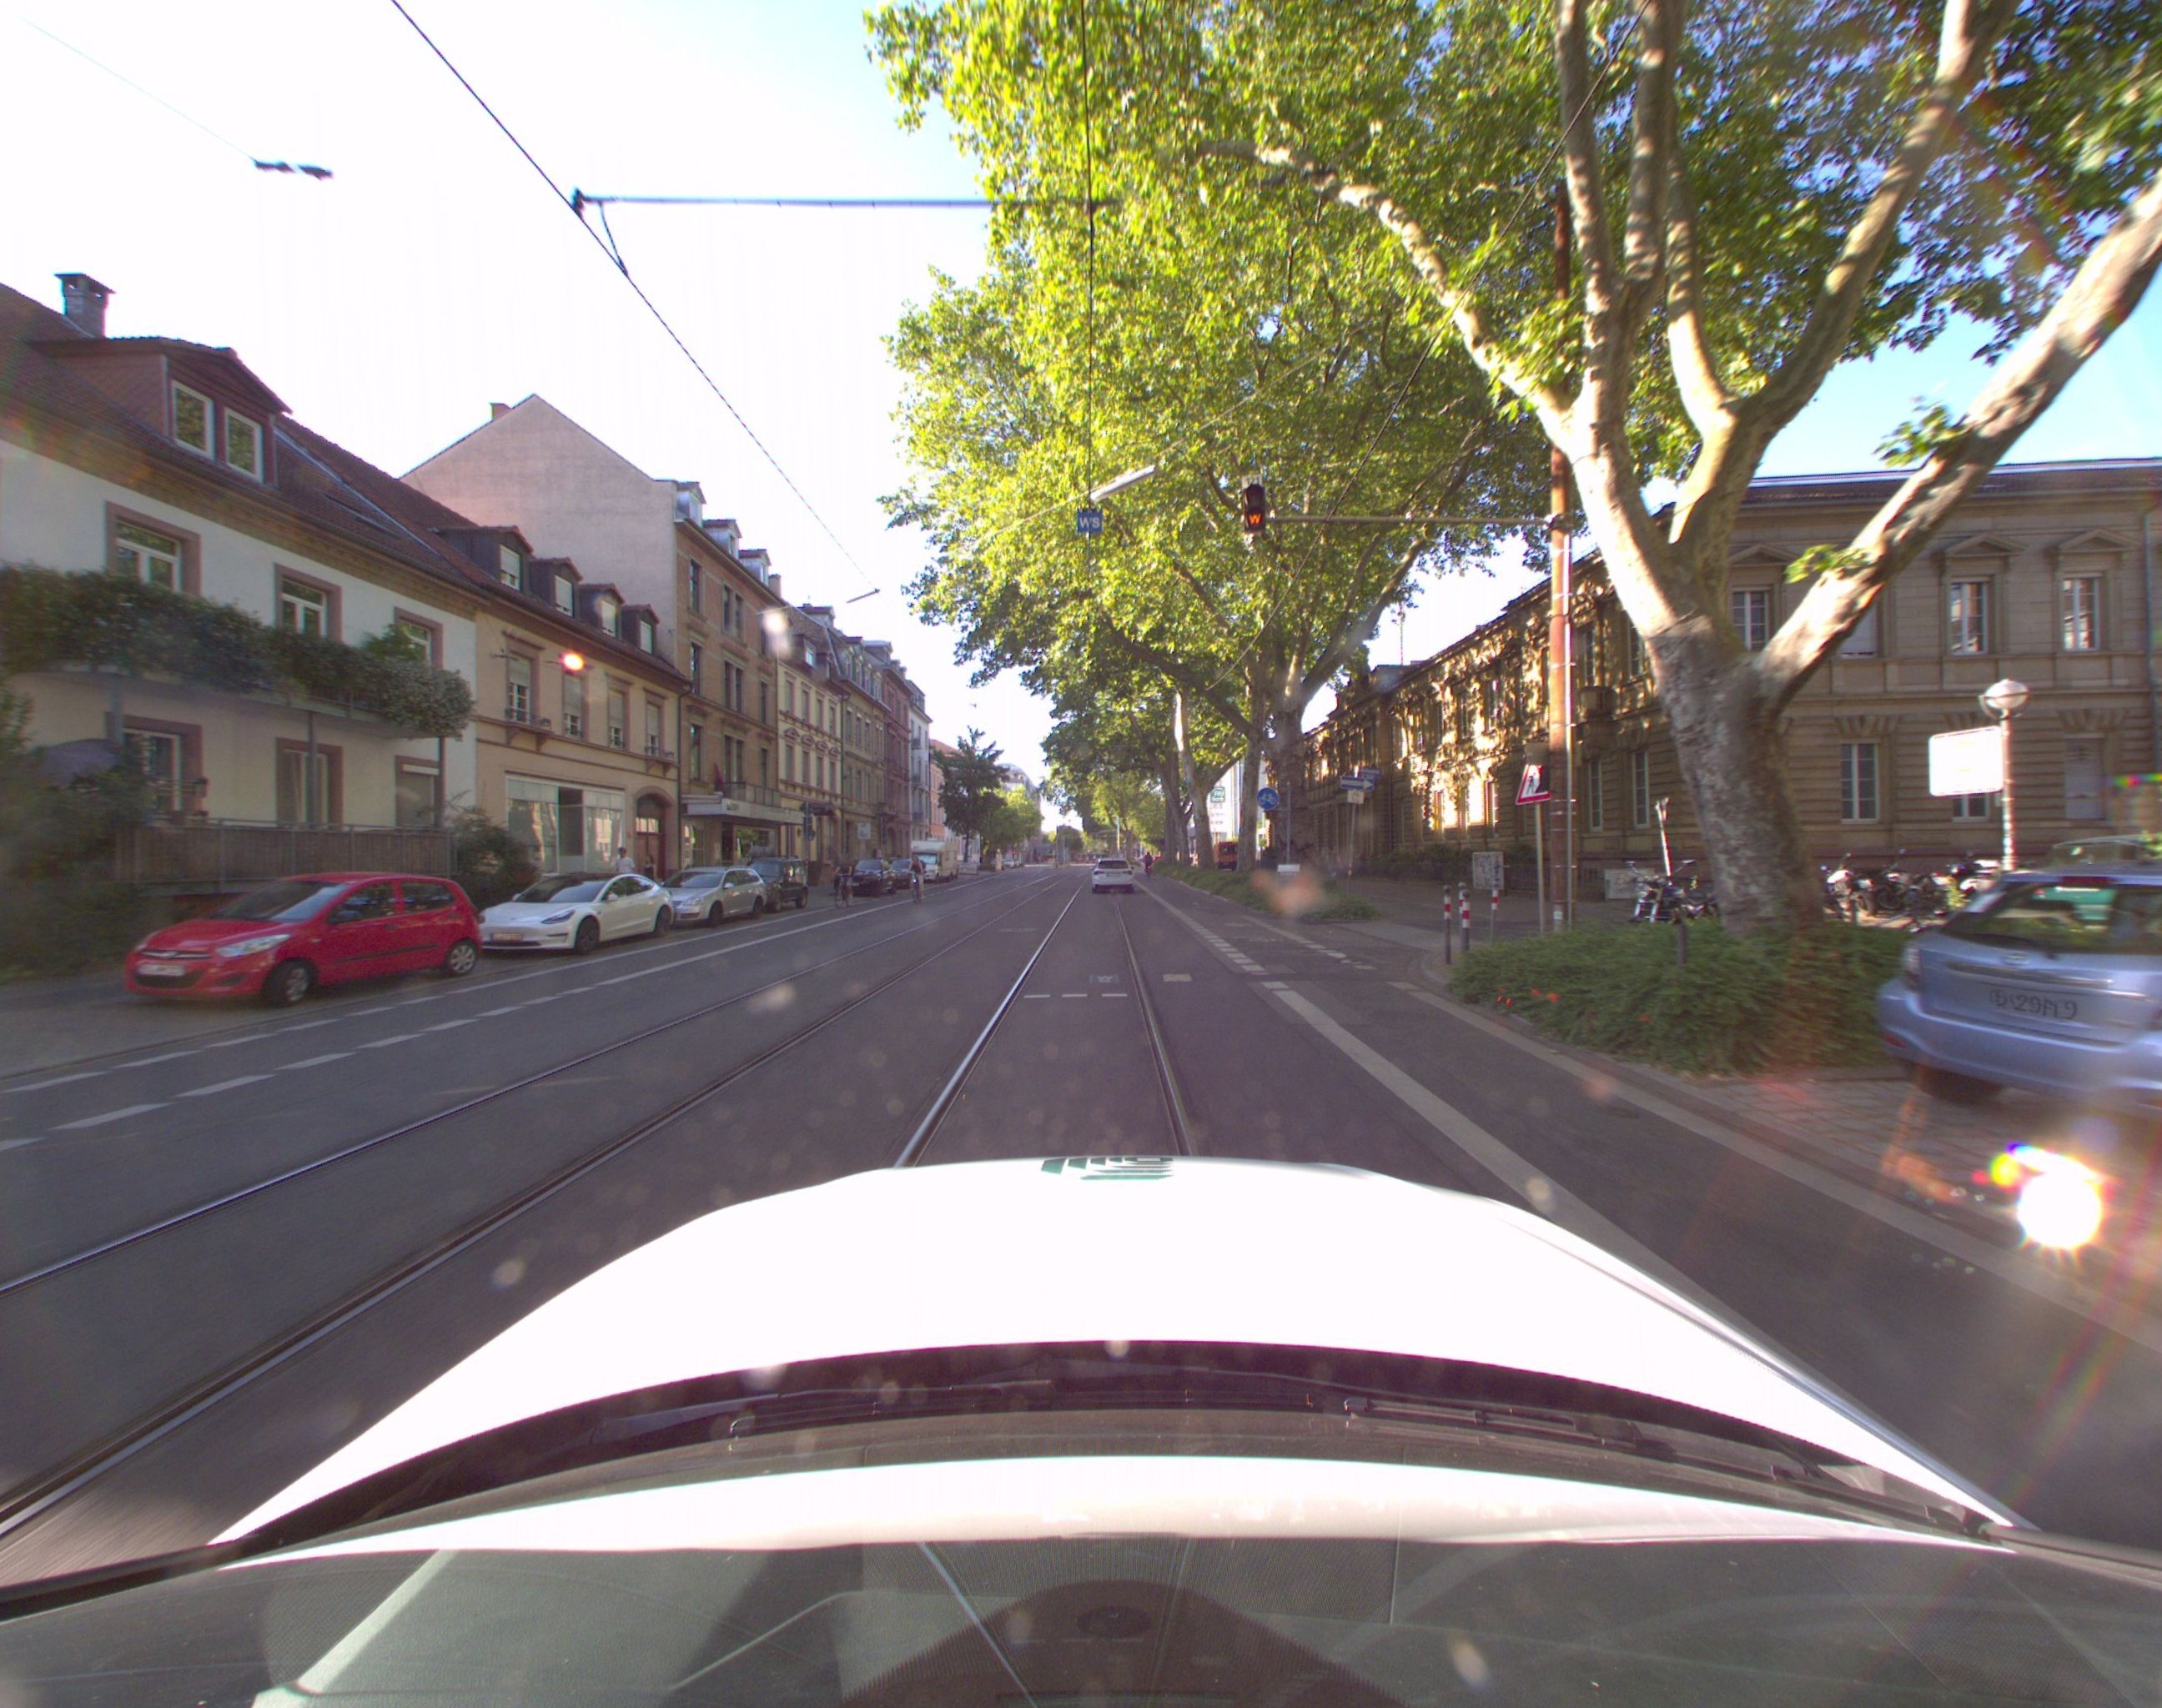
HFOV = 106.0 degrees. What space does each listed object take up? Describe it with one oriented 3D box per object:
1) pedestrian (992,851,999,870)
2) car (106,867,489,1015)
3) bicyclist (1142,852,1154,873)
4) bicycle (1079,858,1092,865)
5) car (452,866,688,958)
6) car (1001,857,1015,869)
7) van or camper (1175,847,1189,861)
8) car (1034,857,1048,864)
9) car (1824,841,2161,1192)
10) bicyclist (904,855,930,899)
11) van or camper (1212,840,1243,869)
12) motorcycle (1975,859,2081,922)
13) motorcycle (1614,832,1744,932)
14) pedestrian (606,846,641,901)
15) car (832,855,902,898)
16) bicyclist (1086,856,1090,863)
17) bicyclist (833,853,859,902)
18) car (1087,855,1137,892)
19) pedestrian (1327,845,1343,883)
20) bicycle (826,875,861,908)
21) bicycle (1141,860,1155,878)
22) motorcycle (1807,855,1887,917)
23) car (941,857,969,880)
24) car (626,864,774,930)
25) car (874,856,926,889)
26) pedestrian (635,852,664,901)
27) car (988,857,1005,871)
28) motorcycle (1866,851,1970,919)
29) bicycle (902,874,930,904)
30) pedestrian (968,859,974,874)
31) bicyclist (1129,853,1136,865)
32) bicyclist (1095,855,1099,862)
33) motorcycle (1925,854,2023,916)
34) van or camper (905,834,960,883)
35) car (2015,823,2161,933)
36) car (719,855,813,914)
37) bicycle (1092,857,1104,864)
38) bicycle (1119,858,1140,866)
[{"bbox_3d":[-9.301,0.697,88.355,0.598,2.002,0.750,0,-1,5],"label":"pedestrian"},{"bbox_3d":[-9.984,0.998,10.779,1.562,1.562,3.453,-1,0,4],"label":"car"},{"bbox_3d":[4.380,0.556,53.239,0.676,1.339,0.525,0,-1,0],"label":"bicyclist"},{"bbox_3d":[0.957,1.456,166.149,2.700,1.327,0.609,-1,0,-34],"label":"bicycle"},{"bbox_3d":[-9.804,1.021,16.174,1.822,1.502,4.685,0,0,-2],"label":"car"},{"bbox_3d":[-10.721,1.334,119.295,1.789,1.726,3.782,0,0,-1],"label":"car"},{"bbox_3d":[16.897,0.056,136.089,1.986,2.343,4.001,0,0,1],"label":"van or camper"},{"bbox_3d":[-11.859,1.899,239.822,3.774,1.818,1.807,0,-1,6],"label":"car"},{"bbox_3d":[6.600,0.680,4.333,3.738,1.508,1.681,-2,0,0],"label":"car"},{"bbox_3d":[-5.848,0.812,29.071,0.636,1.503,1.070,-2,-1,1],"label":"bicyclist"},{"bbox_3d":[12.602,0.068,70.416,2.019,2.464,5.111,0,0,2],"label":"van or camper"},{"bbox_3d":[20.821,0.781,17.971,0.490,1.297,2.193,0,-2,20],"label":"motorcycle"},{"bbox_3d":[7.910,0.355,10.744,2.176,1.228,0.470,1,-1,-28],"label":"motorcycle"},{"bbox_3d":[-13.946,0.596,24.848,0.773,1.634,0.654,1,-1,-16],"label":"pedestrian"},{"bbox_3d":[-9.835,0.980,37.819,1.959,1.781,4.935,2,0,-1],"label":"car"},{"bbox_3d":[1.435,1.148,166.485,0.635,1.522,0.603,-2,1,-34],"label":"bicyclist"},{"bbox_3d":[-8.117,0.809,28.145,0.533,1.634,0.897,-3,-1,2],"label":"bicyclist"},{"bbox_3d":[1.237,0.797,34.228,1.837,1.480,3.835,0,0,-2],"label":"car"},{"bbox_3d":[11.232,0.430,36.052,0.642,1.633,0.876,0,-1,20],"label":"pedestrian"},{"bbox_3d":[-8.107,1.261,27.861,0.483,1.047,2.040,-3,0,2],"label":"bicycle"},{"bbox_3d":[4.376,0.960,53.238,0.677,1.155,2.964,0,0,1],"label":"bicycle"},{"bbox_3d":[17.529,0.699,18.693,0.490,1.296,2.193,0,1,20],"label":"motorcycle"},{"bbox_3d":[-9.762,1.082,63.343,1.636,1.726,3.782,0,0,-1],"label":"car"},{"bbox_3d":[-9.834,1.042,21.468,1.821,1.502,4.448,0,0,0],"label":"car"},{"bbox_3d":[-10.105,0.999,45.716,1.958,1.781,4.468,0,0,-1],"label":"car"},{"bbox_3d":[-13.223,0.688,24.964,0.636,1.460,0.653,1,-1,-16],"label":"pedestrian"},{"bbox_3d":[-10.254,1.203,99.019,1.636,1.726,3.782,0,0,-1],"label":"car"},{"bbox_3d":[18.806,0.653,18.369,0.563,1.431,2.296,0,1,16],"label":"motorcycle"},{"bbox_3d":[-5.810,1.230,28.815,0.497,0.943,1.922,-3,0,2],"label":"bicycle"},{"bbox_3d":[-12.822,1.490,94.962,0.599,1.773,0.700,0,-1,-3],"label":"pedestrian"},{"bbox_3d":[6.893,0.632,109.058,0.731,1.589,0.589,-1,0,12],"label":"bicyclist"},{"bbox_3d":[3.364,0.948,167.930,0.635,1.522,0.603,-2,1,-34],"label":"bicyclist"},{"bbox_3d":[19.809,0.645,18.124,0.490,1.296,2.193,0,0,20],"label":"motorcycle"},{"bbox_3d":[-10.044,0.289,55.652,2.208,3.140,7.117,0,0,2],"label":"van or camper"},{"bbox_3d":[17.211,0.362,12.602,3.458,1.589,1.631,-1,-4,2],"label":"car"},{"bbox_3d":[-9.909,0.899,25.918,1.551,1.732,3.684,0,0,0],"label":"car"},{"bbox_3d":[3.561,1.271,168.029,2.700,1.327,0.609,-1,0,-34],"label":"bicycle"},{"bbox_3d":[6.558,1.052,109.150,2.749,0.999,0.595,0,-1,14],"label":"bicycle"}]
